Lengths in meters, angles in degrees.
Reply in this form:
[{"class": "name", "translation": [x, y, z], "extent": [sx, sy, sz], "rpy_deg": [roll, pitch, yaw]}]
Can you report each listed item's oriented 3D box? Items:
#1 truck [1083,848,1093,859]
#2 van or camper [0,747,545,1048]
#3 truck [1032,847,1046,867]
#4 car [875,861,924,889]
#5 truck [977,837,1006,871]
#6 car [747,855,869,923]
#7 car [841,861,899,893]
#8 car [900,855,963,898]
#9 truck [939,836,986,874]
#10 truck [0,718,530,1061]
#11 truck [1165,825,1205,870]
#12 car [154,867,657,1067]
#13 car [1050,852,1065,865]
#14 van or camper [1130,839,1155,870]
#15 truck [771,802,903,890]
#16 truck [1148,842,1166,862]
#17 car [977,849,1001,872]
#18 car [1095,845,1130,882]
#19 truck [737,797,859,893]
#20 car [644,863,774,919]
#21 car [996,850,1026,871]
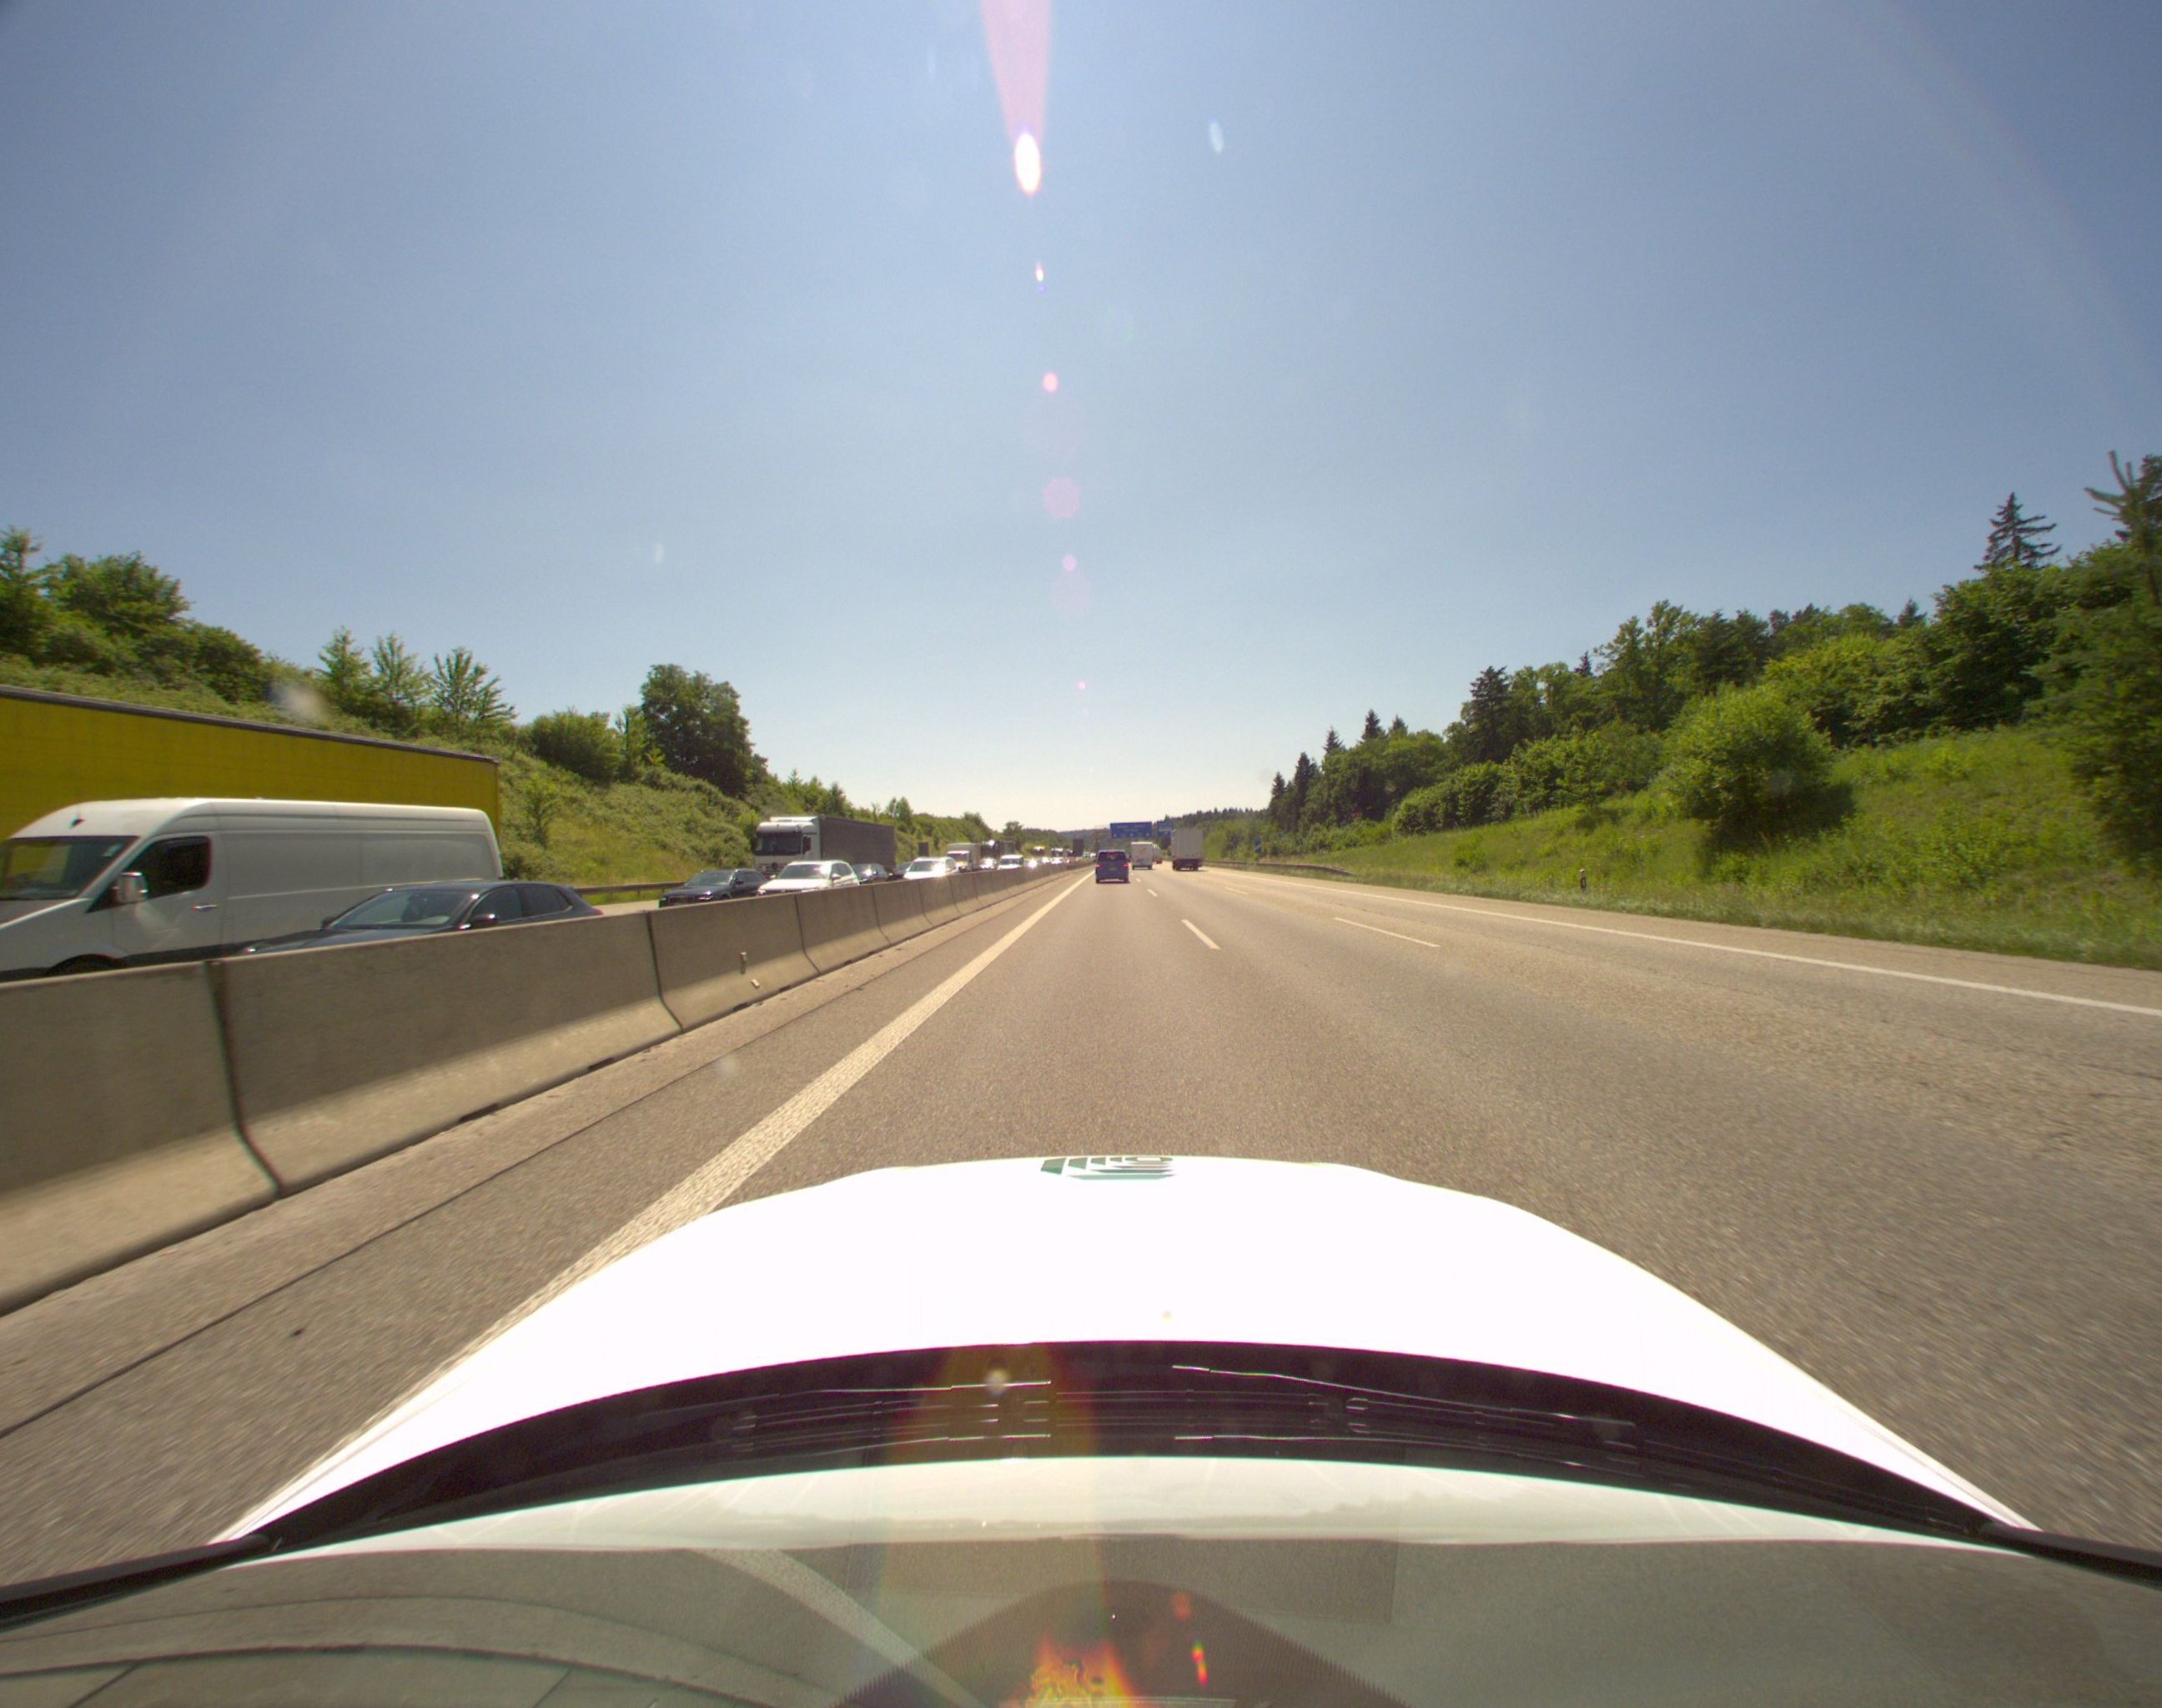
[{"class": "truck", "translation": [1.817, -0.173, 211.876], "extent": [2.111, 2.842, 6.217], "rpy_deg": [-1, -1, 3]}, {"class": "van or camper", "translation": [-11.407, 0.479, 11.562], "extent": [2.187, 2.939, 7.542], "rpy_deg": [-1, -1, 4]}, {"class": "truck", "translation": [-8.860, 0.717, 172.762], "extent": [2.593, 4.064, 6.134], "rpy_deg": [-1, -1, 1]}, {"class": "car", "translation": [-10.700, 1.198, 48.345], "extent": [1.821, 1.565, 4.524], "rpy_deg": [-1, -1, 1]}, {"class": "truck", "translation": [-11.370, 0.005, 103.862], "extent": [2.807, 4.203, 5.634], "rpy_deg": [-1, -1, 3]}, {"class": "car", "translation": [-7.899, 0.959, 24.102], "extent": [1.821, 1.764, 4.992], "rpy_deg": [-1, -1, 1]}, {"class": "car", "translation": [-10.400, 1.099, 40.429], "extent": [1.589, 1.456, 4.483], "rpy_deg": [-1, -1, 1]}, {"class": "car", "translation": [-6.621, 0.976, 36.594], "extent": [1.821, 1.764, 4.992], "rpy_deg": [-1, -1, 1]}, {"class": "truck", "translation": [-9.322, 0.104, 64.705], "extent": [2.559, 2.845, 6.754], "rpy_deg": [-1, -1, 1]}, {"class": "truck", "translation": [-15.848, 0.489, 11.811], "extent": [3.681, 4.456, 16.686], "rpy_deg": [-1, -1, 3]}, {"class": "truck", "translation": [10.221, -0.552, 80.961], "extent": [2.773, 4.128, 9.741], "rpy_deg": [-1, -1, 1]}, {"class": "car", "translation": [-7.394, 1.060, 9.844], "extent": [1.821, 1.764, 4.992], "rpy_deg": [-1, -1, 1]}, {"class": "car", "translation": [-3.262, 0.592, 113.310], "extent": [1.821, 1.764, 4.992], "rpy_deg": [-1, -1, 1]}, {"class": "van or camper", "translation": [6.902, 0.125, 91.738], "extent": [2.592, 3.080, 7.185], "rpy_deg": [-1, -4, 3]}, {"class": "truck", "translation": [-14.175, -0.348, 49.119], "extent": [2.982, 4.543, 13.936], "rpy_deg": [-1, -1, 3]}, {"class": "truck", "translation": [14.362, -0.328, 154.219], "extent": [2.915, 3.575, 8.534], "rpy_deg": [-3, 0, 3]}, {"class": "car", "translation": [-8.592, 0.606, 76.125], "extent": [1.617, 2.014, 4.001], "rpy_deg": [-1, -1, 2]}, {"class": "car", "translation": [1.839, 0.541, 47.270], "extent": [1.902, 2.013, 4.002], "rpy_deg": [-2, 0, 2]}, {"class": "truck", "translation": [-14.559, -0.361, 42.817], "extent": [2.929, 4.516, 8.612], "rpy_deg": [-1, -1, 3]}, {"class": "car", "translation": [-11.280, 1.068, 25.075], "extent": [1.821, 1.565, 4.524], "rpy_deg": [-1, -1, 1]}, {"class": "car", "translation": [-5.532, 0.502, 64.910], "extent": [1.821, 1.565, 5.112], "rpy_deg": [-1, -1, 1]}]
